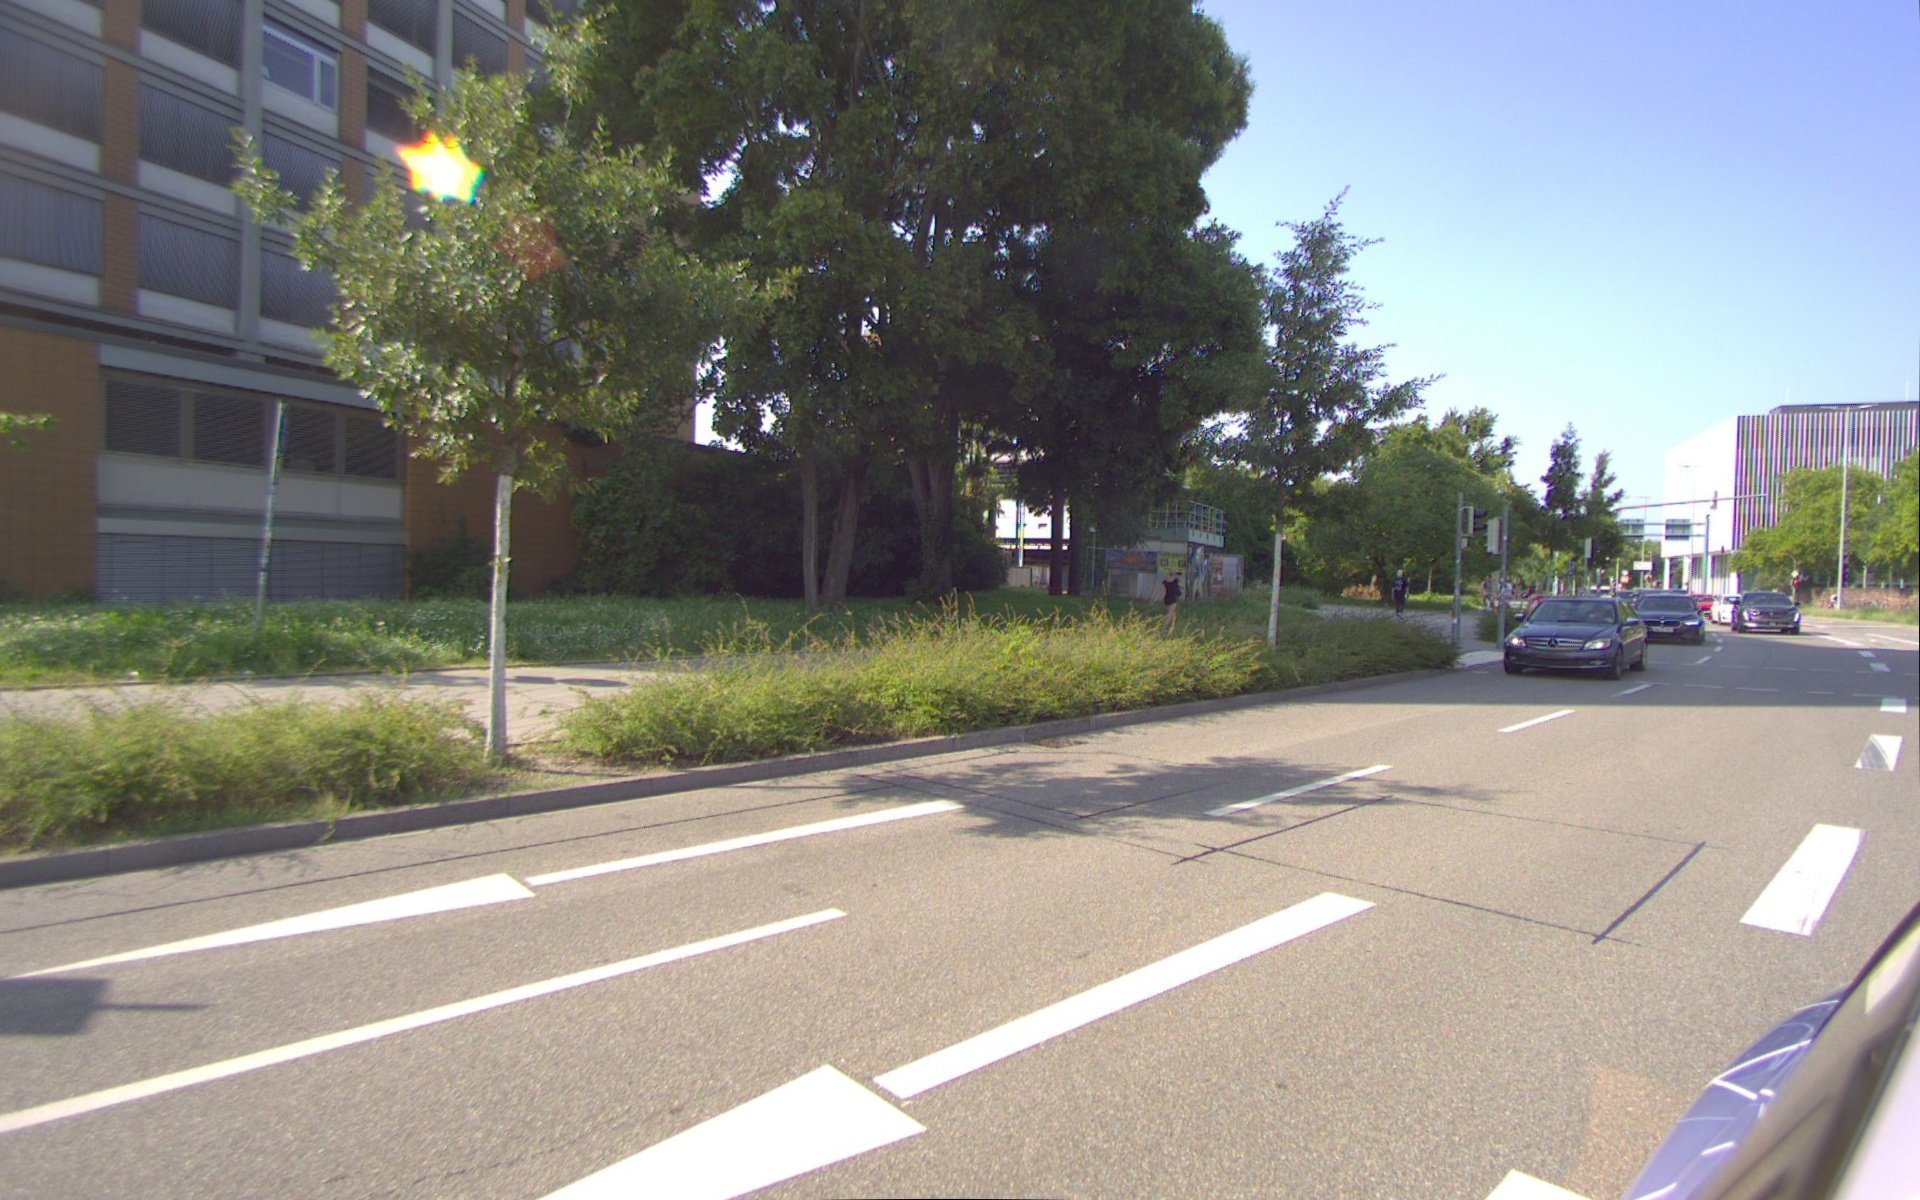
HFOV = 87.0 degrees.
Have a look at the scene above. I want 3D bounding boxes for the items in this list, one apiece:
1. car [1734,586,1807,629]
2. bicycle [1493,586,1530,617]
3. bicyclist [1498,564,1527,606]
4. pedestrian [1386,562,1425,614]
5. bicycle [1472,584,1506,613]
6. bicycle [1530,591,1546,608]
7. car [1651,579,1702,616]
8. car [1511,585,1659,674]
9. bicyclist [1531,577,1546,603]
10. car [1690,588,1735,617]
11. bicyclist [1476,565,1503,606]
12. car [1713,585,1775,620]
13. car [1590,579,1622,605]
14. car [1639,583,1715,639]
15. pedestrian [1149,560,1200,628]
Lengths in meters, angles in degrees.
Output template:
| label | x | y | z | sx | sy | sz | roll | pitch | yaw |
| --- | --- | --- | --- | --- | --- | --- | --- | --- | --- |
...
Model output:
| label | x | y | z | sx | sy | sz | roll | pitch | yaw |
| --- | --- | --- | --- | --- | --- | --- | --- | --- | --- |
| car | 31.070 | 0.235 | 38.906 | 1.676 | 1.510 | 4.321 | 3 | 2 | 33 |
| bicycle | 21.365 | 0.046 | 39.170 | 0.770 | 1.131 | 2.270 | 3 | 2 | 40 |
| bicyclist | 21.424 | -0.587 | 39.209 | 0.770 | 1.612 | 0.910 | 3 | 2 | 40 |
| pedestrian | 15.982 | -0.439 | 36.268 | 0.957 | 1.804 | 0.988 | 5 | 3 | 39 |
| bicycle | 21.452 | -0.079 | 41.013 | 0.770 | 1.131 | 2.270 | 2 | 2 | 40 |
| bicycle | 38.714 | -0.046 | 67.780 | 0.766 | 1.131 | 2.282 | 1 | 1 | 27 |
| car | 34.354 | -0.144 | 48.621 | 1.771 | 1.626 | 4.370 | 2 | 2 | 33 |
| car | 11.687 | 0.471 | 18.796 | 1.681 | 1.461 | 4.308 | -1 | 0 | 41 |
| bicyclist | 38.723 | -0.699 | 67.757 | 0.766 | 1.697 | 0.915 | 1 | 1 | 28 |
| car | 42.618 | 0.136 | 57.363 | 1.676 | 1.510 | 4.321 | 3 | 2 | 33 |
| bicyclist | 21.472 | -0.584 | 41.023 | 0.770 | 1.613 | 0.911 | 2 | 1 | 40 |
| car | 36.615 | 0.076 | 47.359 | 1.771 | 1.501 | 4.481 | 2 | 2 | 32 |
| car | 51.620 | -0.634 | 80.931 | 1.672 | 1.966 | 4.332 | 2 | 2 | 27 |
| car | 21.373 | 0.275 | 30.288 | 1.677 | 1.510 | 4.616 | 3 | 2 | 34 |
| pedestrian | 4.777 | -0.142 | 22.557 | 0.842 | 1.461 | 0.726 | 0 | 2 | -40 |
